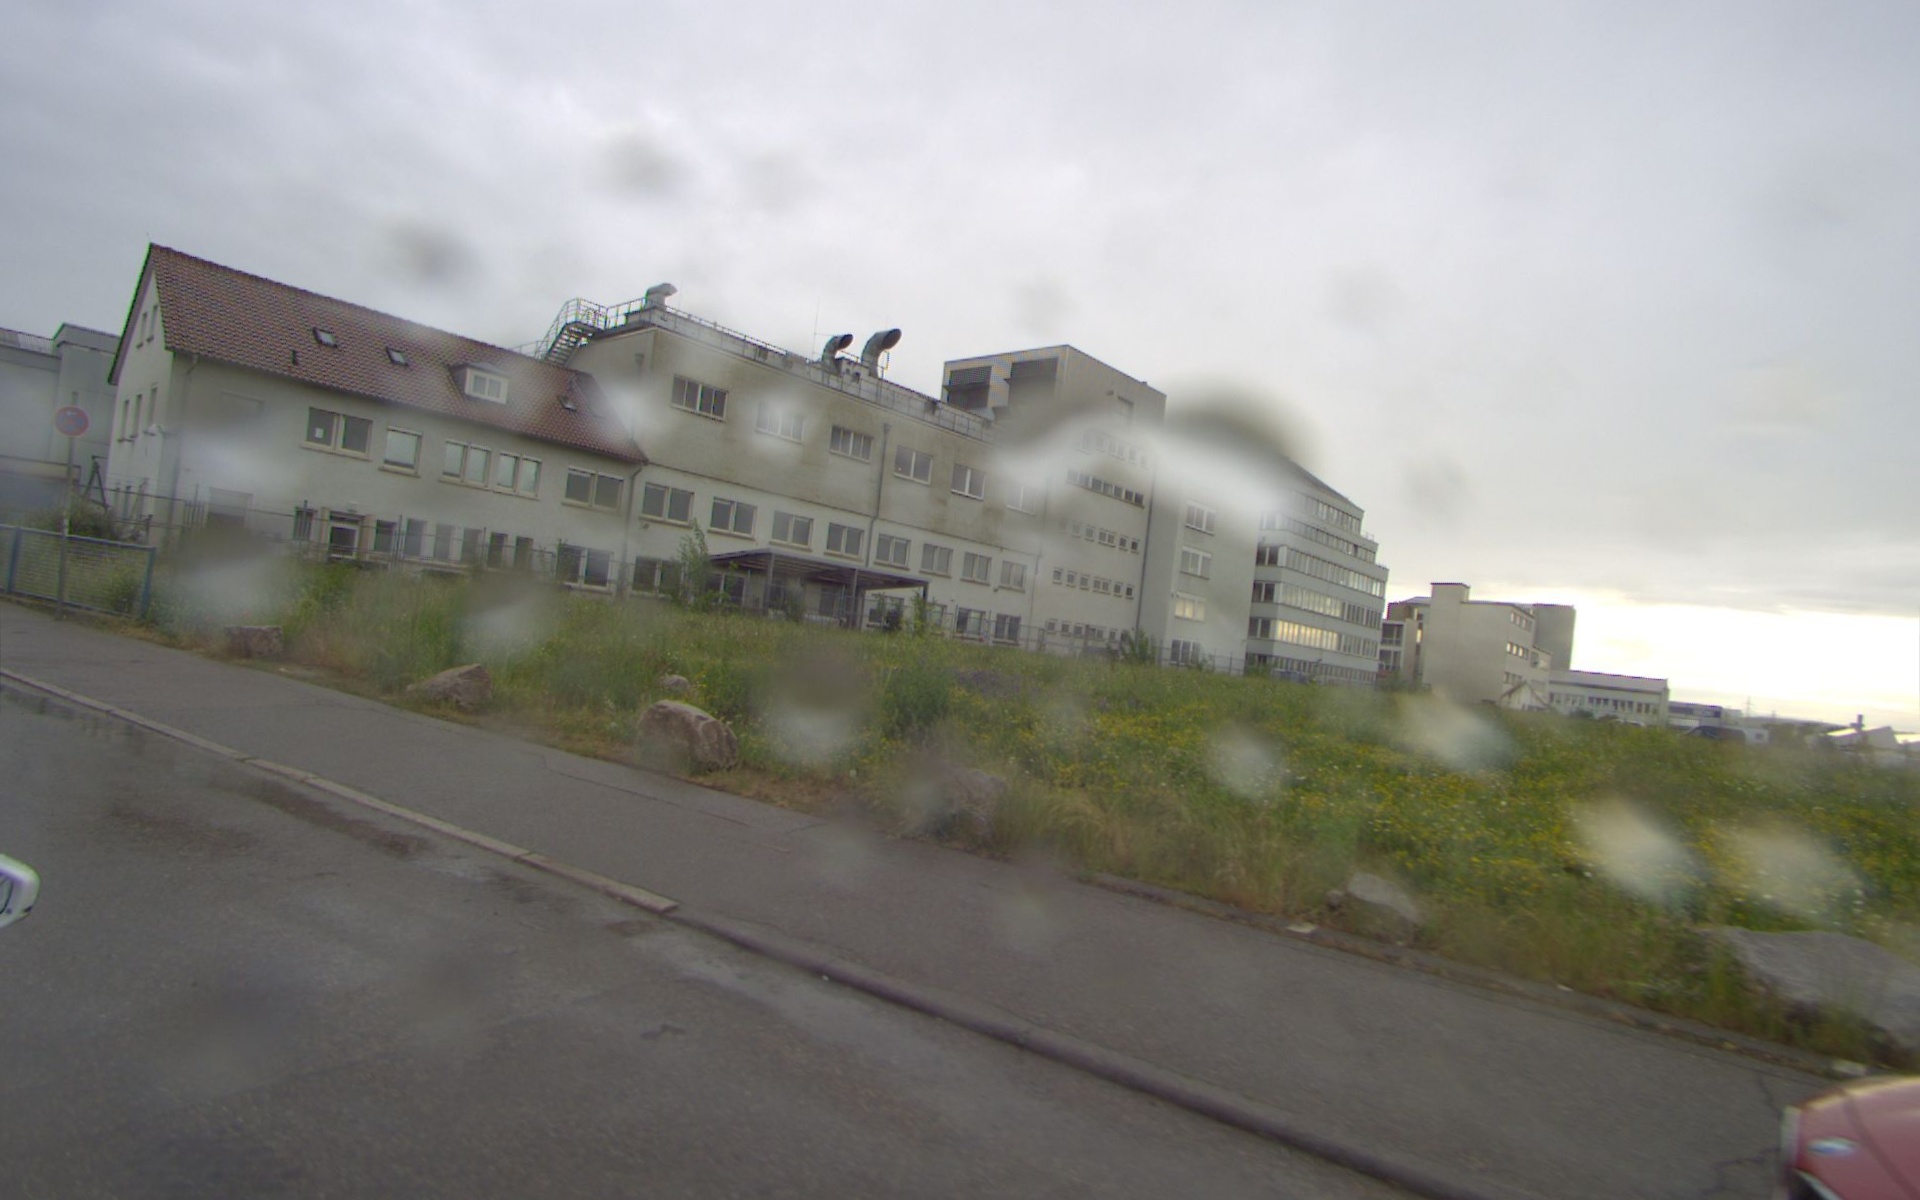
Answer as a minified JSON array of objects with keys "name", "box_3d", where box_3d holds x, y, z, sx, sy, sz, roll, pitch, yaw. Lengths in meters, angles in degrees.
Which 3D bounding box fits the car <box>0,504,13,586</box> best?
[{"name":"car","box_3d":[-10.949,-0.376,9.609,3.612,1.575,1.686,7,-3,30]}]

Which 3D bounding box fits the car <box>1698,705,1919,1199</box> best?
[{"name":"car","box_3d":[3.464,1.234,0.691,4.567,1.592,1.646,7,-2,32]}]
